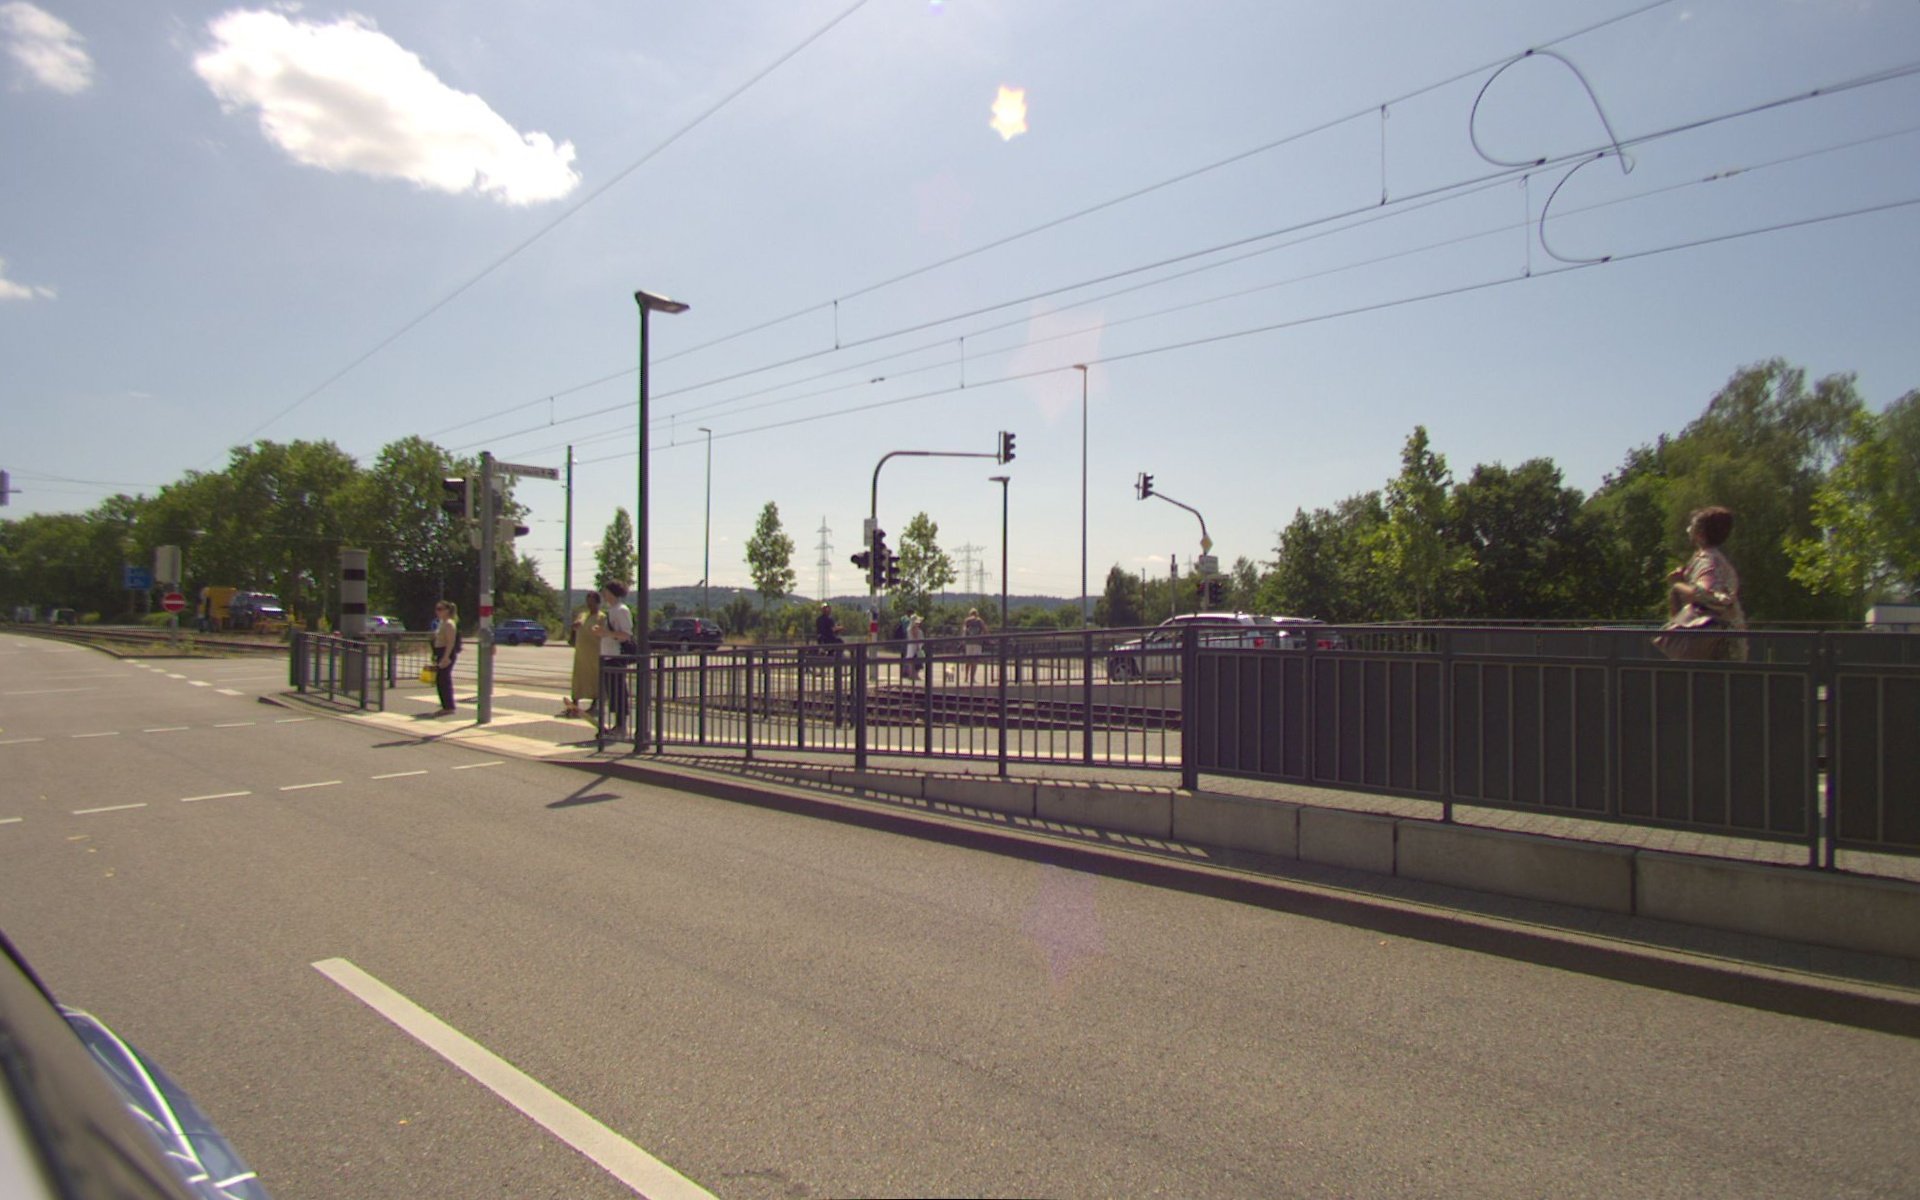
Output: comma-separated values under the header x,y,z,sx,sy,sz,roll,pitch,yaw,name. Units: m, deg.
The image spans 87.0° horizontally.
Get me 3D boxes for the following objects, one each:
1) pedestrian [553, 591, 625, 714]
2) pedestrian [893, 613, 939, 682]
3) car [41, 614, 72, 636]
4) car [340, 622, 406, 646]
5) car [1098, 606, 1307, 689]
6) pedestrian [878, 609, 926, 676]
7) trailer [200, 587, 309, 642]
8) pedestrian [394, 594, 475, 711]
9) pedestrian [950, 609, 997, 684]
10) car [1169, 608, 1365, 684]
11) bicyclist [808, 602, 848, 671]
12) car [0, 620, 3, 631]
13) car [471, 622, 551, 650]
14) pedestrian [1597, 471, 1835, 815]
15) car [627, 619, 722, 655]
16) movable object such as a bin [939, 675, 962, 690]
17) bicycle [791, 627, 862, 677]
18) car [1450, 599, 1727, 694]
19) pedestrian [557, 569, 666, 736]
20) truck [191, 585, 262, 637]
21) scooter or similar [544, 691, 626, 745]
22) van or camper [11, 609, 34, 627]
x,y,z,sx,sy,sz,roll,pitch,yaw,name
-5.254,0.721,14.335,0.677,1.685,0.725,-1,-1,38,pedestrian
-1.019,1.094,23.617,0.763,1.560,0.754,-1,-2,39,pedestrian
-98.505,2.713,110.294,4.432,1.852,1.972,-10,-11,42,car
-37.300,2.153,64.296,4.266,1.474,1.978,-1,-1,33,car
5.227,0.984,22.089,4.000,1.641,1.972,-1,-1,43,car
-1.424,1.039,24.952,0.763,1.622,0.947,-1,-2,39,pedestrian
-54.859,1.193,78.429,15.471,3.900,3.083,-1,-2,40,trailer
-7.389,0.717,14.235,0.763,1.584,0.777,-1,-1,38,pedestrian
0.305,1.044,23.176,0.763,1.685,0.754,-1,-2,39,pedestrian
7.233,1.050,24.064,3.999,1.641,1.972,-1,-2,43,car
-3.202,0.874,24.593,0.729,1.627,0.660,-1,-1,26,bicyclist
-147.356,3.842,153.801,4.259,1.649,1.975,-1,-4,38,car
-24.305,1.928,54.786,4.338,1.456,1.977,-1,-1,34,car
4.027,0.212,5.402,0.923,1.617,0.881,-2,-2,40,pedestrian
-13.467,1.725,47.705,4.293,1.642,1.979,-1,-2,31,car
-0.219,1.889,23.201,0.229,0.323,0.565,-1,-2,38,movable object such as a bin
-3.217,1.238,24.499,0.760,1.109,1.961,-1,-1,26,bicycle
12.128,0.854,19.693,4.280,1.641,1.972,-2,-2,43,car
-4.003,0.581,11.635,0.882,1.816,0.854,-1,-1,38,pedestrian
-60.346,0.919,83.187,7.471,4.069,3.093,-1,-2,41,truck
-4.137,1.293,11.178,0.457,0.509,0.719,-1,-2,38,scooter or similar
-142.490,2.720,153.740,5.843,2.606,1.972,-1,-3,42,van or camper
